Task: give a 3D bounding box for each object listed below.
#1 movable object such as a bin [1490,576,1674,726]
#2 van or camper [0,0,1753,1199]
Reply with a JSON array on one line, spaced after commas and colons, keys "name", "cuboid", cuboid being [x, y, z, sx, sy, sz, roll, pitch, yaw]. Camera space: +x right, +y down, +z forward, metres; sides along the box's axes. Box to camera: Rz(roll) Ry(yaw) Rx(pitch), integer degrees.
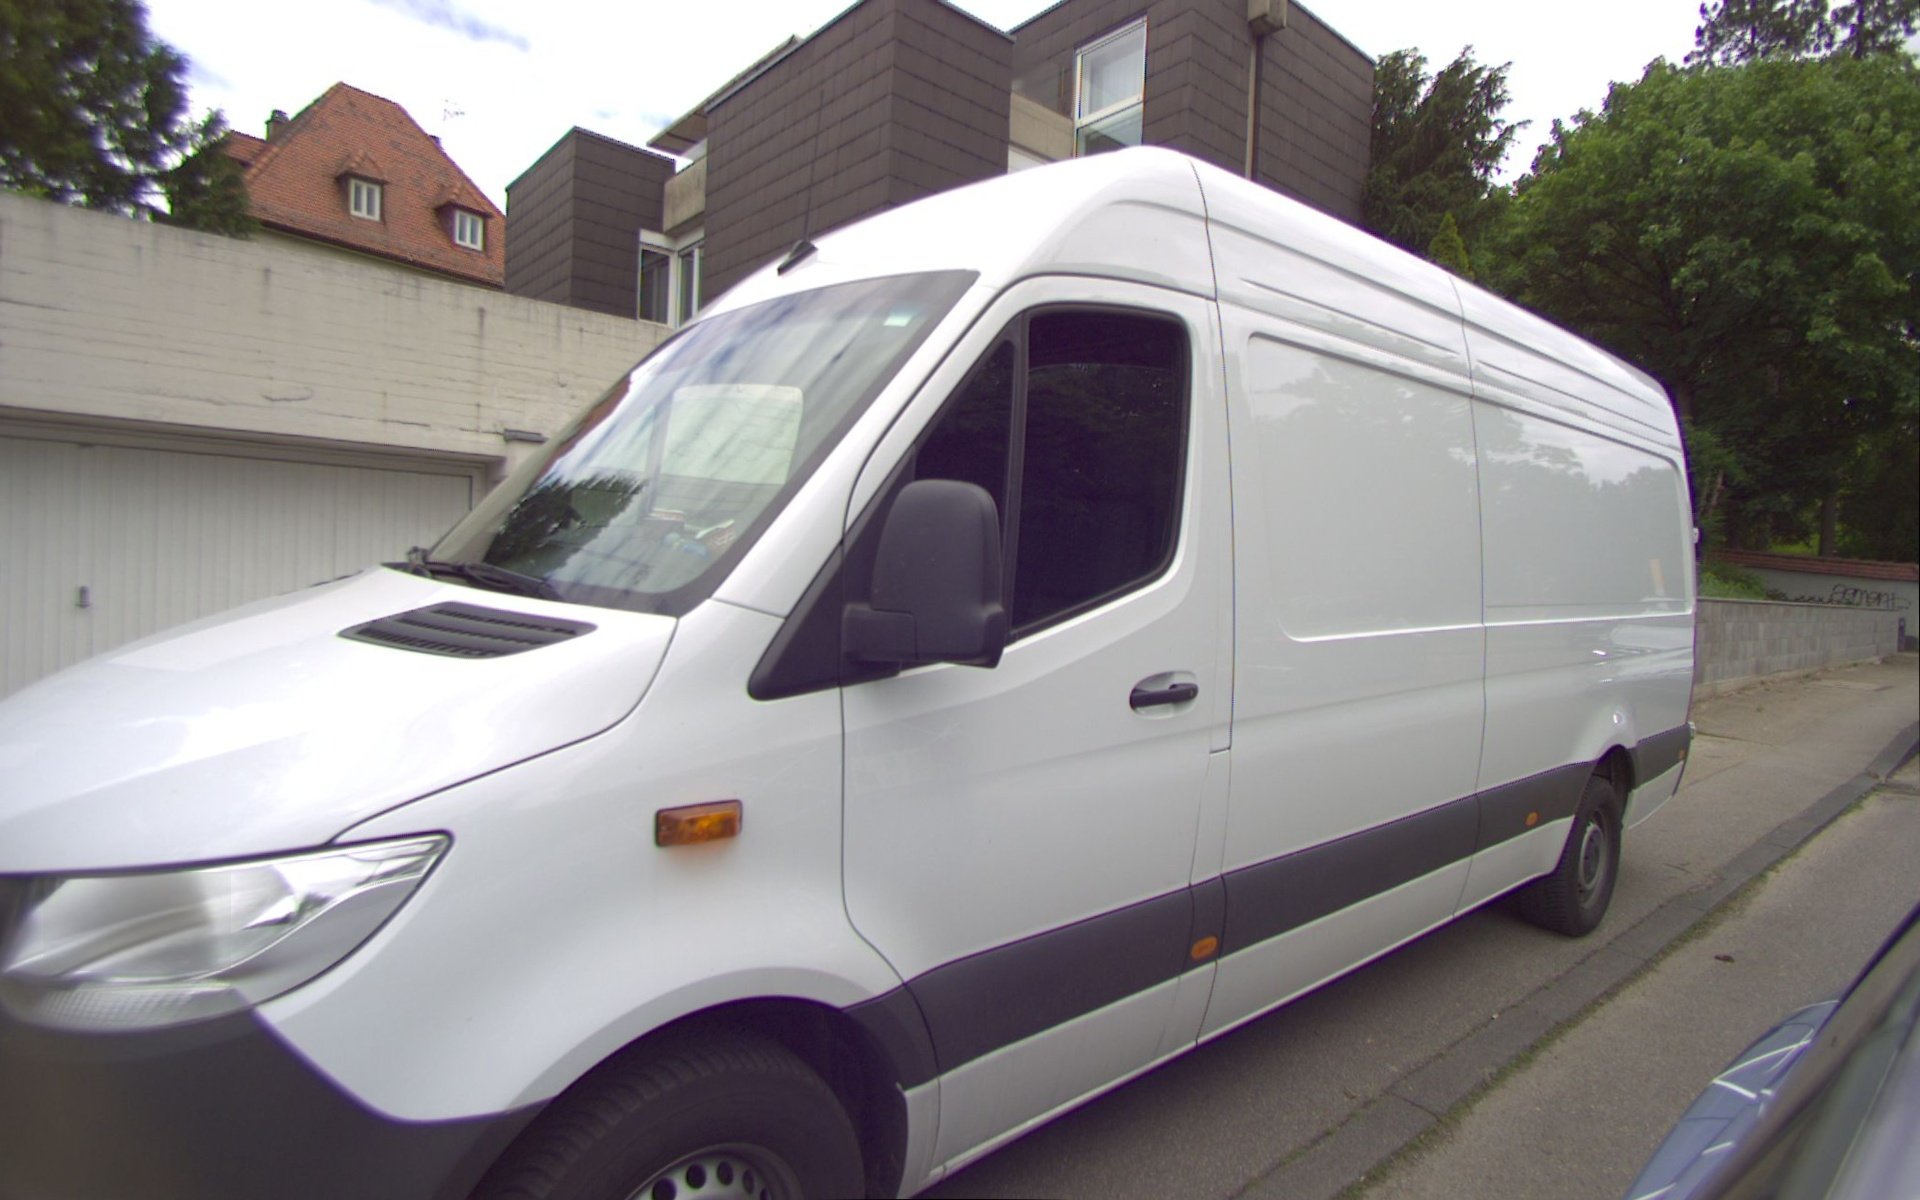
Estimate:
[{"name": "movable object such as a bin", "cuboid": [6.736, 0.492, 10.987, 1.096, 1.469, 1.407, 0, 2, -40]}, {"name": "van or camper", "cuboid": [0.855, 0.019, 3.821, 6.429, 2.656, 1.996, 0, 5, -41]}]
